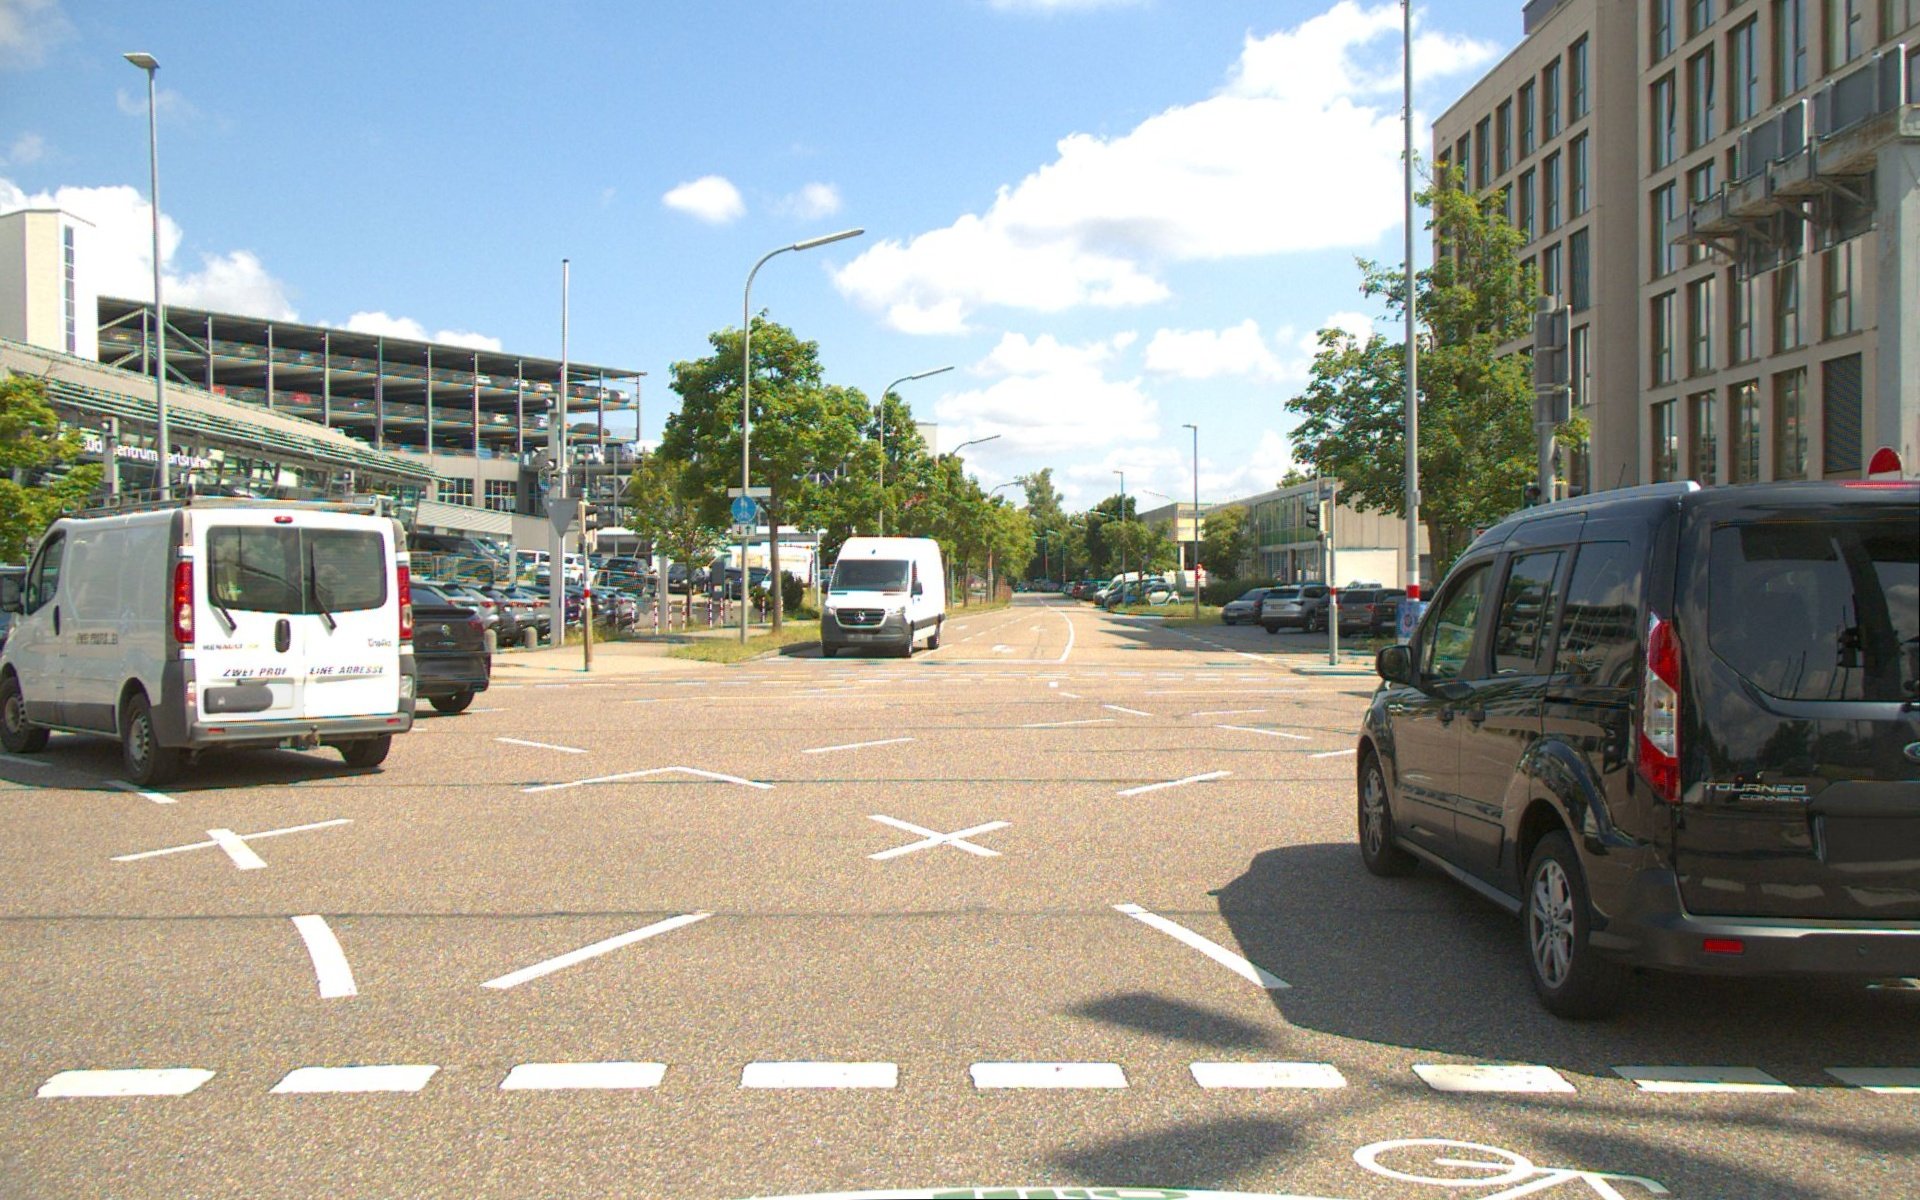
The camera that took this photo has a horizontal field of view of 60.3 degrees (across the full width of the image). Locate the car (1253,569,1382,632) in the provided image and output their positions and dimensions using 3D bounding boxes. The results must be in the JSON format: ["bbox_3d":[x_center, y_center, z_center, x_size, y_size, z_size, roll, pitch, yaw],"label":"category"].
[{"bbox_3d":[12.202,0.037,56.607,3.909,2.049,1.998,1,-1,-5],"label":"car"}]

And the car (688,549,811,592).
[{"bbox_3d":[-11.107,-1.545,87.431,6.258,2.139,1.764,1,-1,-2],"label":"car"}]

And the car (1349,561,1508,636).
[{"bbox_3d":[13.350,-0.024,47.242,3.909,2.049,1.998,1,-1,-5],"label":"car"}]

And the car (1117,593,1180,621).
[{"bbox_3d":[12.271,0.462,107.908,3.904,1.780,2.000,1,-1,2],"label":"car"}]

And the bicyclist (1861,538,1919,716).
[{"bbox_3d":[8.382,0.241,14.427,0.623,1.503,0.916,1,-1,7],"label":"bicyclist"}]

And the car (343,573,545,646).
[{"bbox_3d":[-13.020,0.249,41.906,4.481,1.707,1.907,1,-1,0],"label":"car"}]

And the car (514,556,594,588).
[{"bbox_3d":[-21.566,-1.467,87.966,3.913,1.579,1.761,1,-1,-9],"label":"car"}]

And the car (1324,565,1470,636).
[{"bbox_3d":[13.386,0.031,50.778,3.909,2.049,1.998,1,-1,-5],"label":"car"}]

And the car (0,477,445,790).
[{"bbox_3d":[-6.138,0.232,13.391,1.964,2.096,4.490,1,-1,-44],"label":"car"}]

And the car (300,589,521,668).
[{"bbox_3d":[-12.741,0.656,38.548,4.481,1.707,1.907,1,-1,0],"label":"car"}]

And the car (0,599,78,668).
[{"bbox_3d":[-19.093,0.626,31.808,1.862,1.320,4.588,1,-1,-1],"label":"car"}]

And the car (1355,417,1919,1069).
[{"bbox_3d":[2.967,0.438,6.926,1.785,1.938,4.001,0,0,2],"label":"car"}]

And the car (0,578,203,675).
[{"bbox_3d":[-16.536,0.508,31.814,1.862,1.707,4.588,1,-1,-1],"label":"car"}]

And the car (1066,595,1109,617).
[{"bbox_3d":[12.421,0.564,161.381,3.909,2.049,1.998,1,-1,-5],"label":"car"}]

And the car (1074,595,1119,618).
[{"bbox_3d":[12.984,0.628,157.535,3.909,2.049,1.998,1,-1,-5],"label":"car"}]

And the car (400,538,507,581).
[{"bbox_3d":[-23.176,-1.848,75.803,4.352,1.833,1.764,1,-1,-3],"label":"car"}]

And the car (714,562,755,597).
[{"bbox_3d":[-10.888,-0.978,79.989,1.529,1.579,3.600,1,-1,-2],"label":"car"}]

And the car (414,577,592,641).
[{"bbox_3d":[-12.970,0.254,47.113,4.481,1.707,1.907,1,-1,0],"label":"car"}]

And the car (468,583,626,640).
[{"bbox_3d":[-13.061,0.372,52.435,4.481,1.707,1.907,1,-1,0],"label":"car"}]

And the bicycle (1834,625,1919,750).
[{"bbox_3d":[8.375,0.744,14.451,0.633,1.029,1.979,1,-1,7],"label":"bicycle"}]

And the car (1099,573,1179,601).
[{"bbox_3d":[14.354,-1.035,132.987,6.210,2.049,2.573,1,-1,1],"label":"car"}]

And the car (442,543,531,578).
[{"bbox_3d":[-23.100,-1.913,80.827,3.913,1.579,1.761,1,-1,-9],"label":"car"}]

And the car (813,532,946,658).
[{"bbox_3d":[-1.749,-0.051,38.621,2.087,2.653,6.867,1,-1,6],"label":"car"}]

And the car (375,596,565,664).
[{"bbox_3d":[-13.103,0.807,44.440,4.481,1.707,1.907,1,-1,0],"label":"car"}]

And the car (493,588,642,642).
[{"bbox_3d":[-13.046,0.504,55.136,4.481,1.707,1.907,1,-1,0],"label":"car"}]

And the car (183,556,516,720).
[{"bbox_3d":[-6.947,0.390,18.687,3.923,1.658,1.771,0,-1,39],"label":"car"}]

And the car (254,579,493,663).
[{"bbox_3d":[-12.756,0.468,36.178,4.481,1.707,1.907,1,-1,0],"label":"car"}]

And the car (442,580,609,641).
[{"bbox_3d":[-13.030,0.320,49.844,4.481,1.707,1.907,1,-1,0],"label":"car"}]

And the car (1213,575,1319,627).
[{"bbox_3d":[12.639,0.064,68.399,3.909,2.049,1.998,1,-1,-5],"label":"car"}]

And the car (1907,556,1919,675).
[{"bbox_3d":[17.586,0.280,25.544,4.878,1.870,1.998,1,-1,-4],"label":"car"}]

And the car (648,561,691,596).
[{"bbox_3d":[-14.171,-1.030,80.684,1.529,1.579,3.600,1,-1,-2],"label":"car"}]
